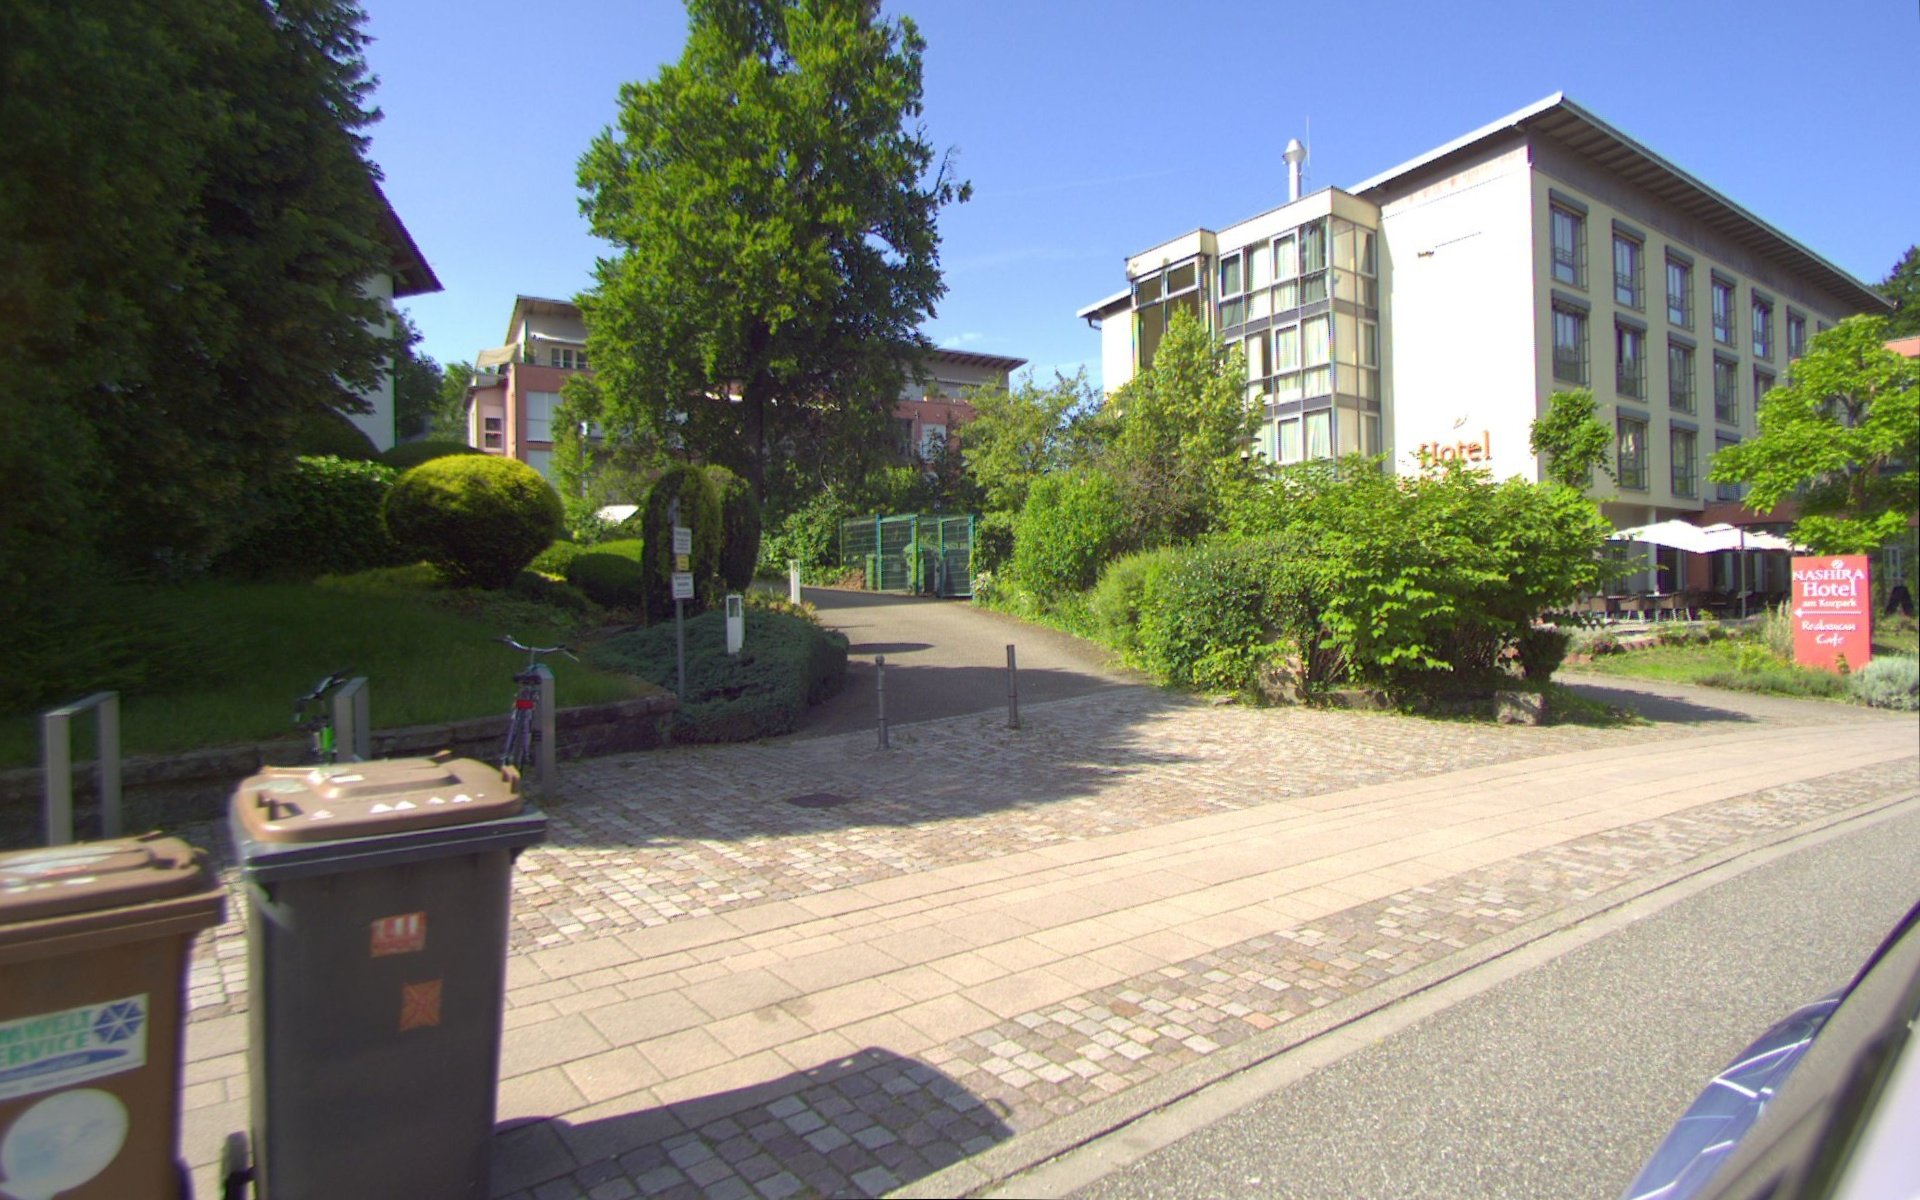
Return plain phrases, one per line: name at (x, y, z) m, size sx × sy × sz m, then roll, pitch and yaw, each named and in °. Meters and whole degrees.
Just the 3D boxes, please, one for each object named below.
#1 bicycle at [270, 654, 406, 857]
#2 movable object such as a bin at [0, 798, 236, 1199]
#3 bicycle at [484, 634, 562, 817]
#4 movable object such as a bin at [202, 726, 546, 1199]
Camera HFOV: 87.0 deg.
bicycle at (-3.676, 0.855, 6.067) m, size 0.376 × 0.920 × 1.552 m, roll 1°, pitch 2°, yaw -20°
movable object such as a bin at (-1.772, 0.923, 1.959) m, size 0.553 × 0.923 × 0.526 m, roll 1°, pitch 0°, yaw -41°
bicycle at (-2.925, 0.779, 6.842) m, size 0.376 × 0.995 × 1.551 m, roll 1°, pitch 1°, yaw -20°
movable object such as a bin at (-1.346, 0.868, 2.304) m, size 0.561 × 1.045 × 0.657 m, roll 1°, pitch 0°, yaw -41°
